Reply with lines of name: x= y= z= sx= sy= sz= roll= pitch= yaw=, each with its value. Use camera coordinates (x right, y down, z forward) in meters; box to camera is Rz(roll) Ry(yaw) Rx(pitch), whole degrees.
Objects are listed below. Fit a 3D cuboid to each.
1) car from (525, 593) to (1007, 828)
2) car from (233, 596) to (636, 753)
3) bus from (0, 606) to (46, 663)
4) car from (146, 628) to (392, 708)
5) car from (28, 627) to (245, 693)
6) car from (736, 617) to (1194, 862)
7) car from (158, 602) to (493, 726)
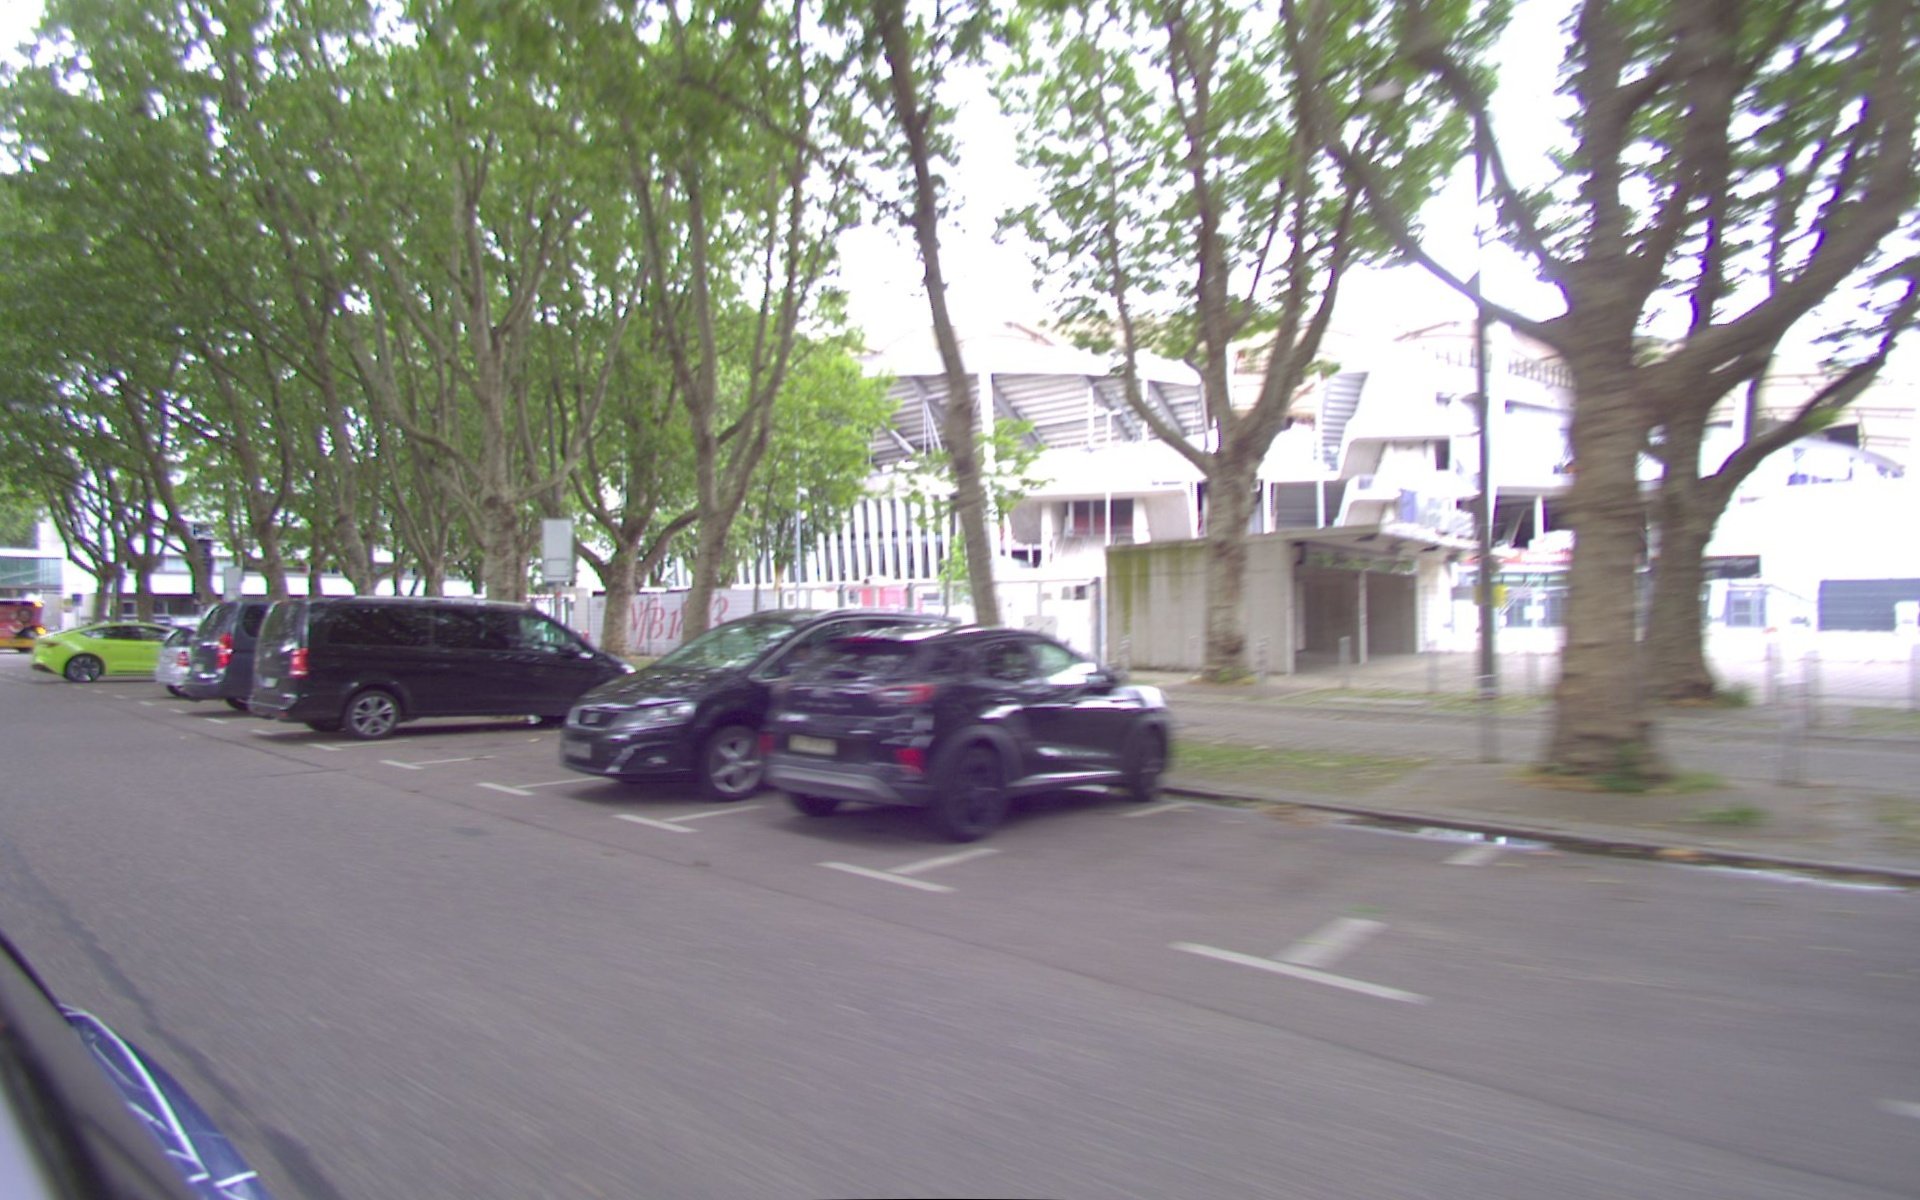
car: x=-1.671 y=0.969 z=10.055 sx=1.797 sy=1.795 sz=4.529 roll=-3 pitch=-5 yaw=42
car: x=-7.610 y=1.019 z=15.094 sx=2.207 sy=1.939 sz=4.853 roll=-2 pitch=-3 yaw=41
bus: x=-58.227 y=2.087 z=61.569 sx=12.367 sy=3.179 sz=2.622 roll=-2 pitch=-4 yaw=43
car: x=-14.987 y=1.454 z=22.141 sx=1.754 sy=1.581 sz=4.067 roll=-2 pitch=-4 yaw=36
car: x=-22.613 y=1.581 z=27.934 sx=1.758 sy=1.630 sz=4.467 roll=-2 pitch=-2 yaw=43
car: x=0.266 y=0.961 z=8.324 sx=1.752 sy=1.505 sz=3.858 roll=-1 pitch=-3 yaw=39
car: x=-11.292 y=1.126 z=18.340 sx=2.016 sy=1.939 sz=4.715 roll=-2 pitch=-4 yaw=39
